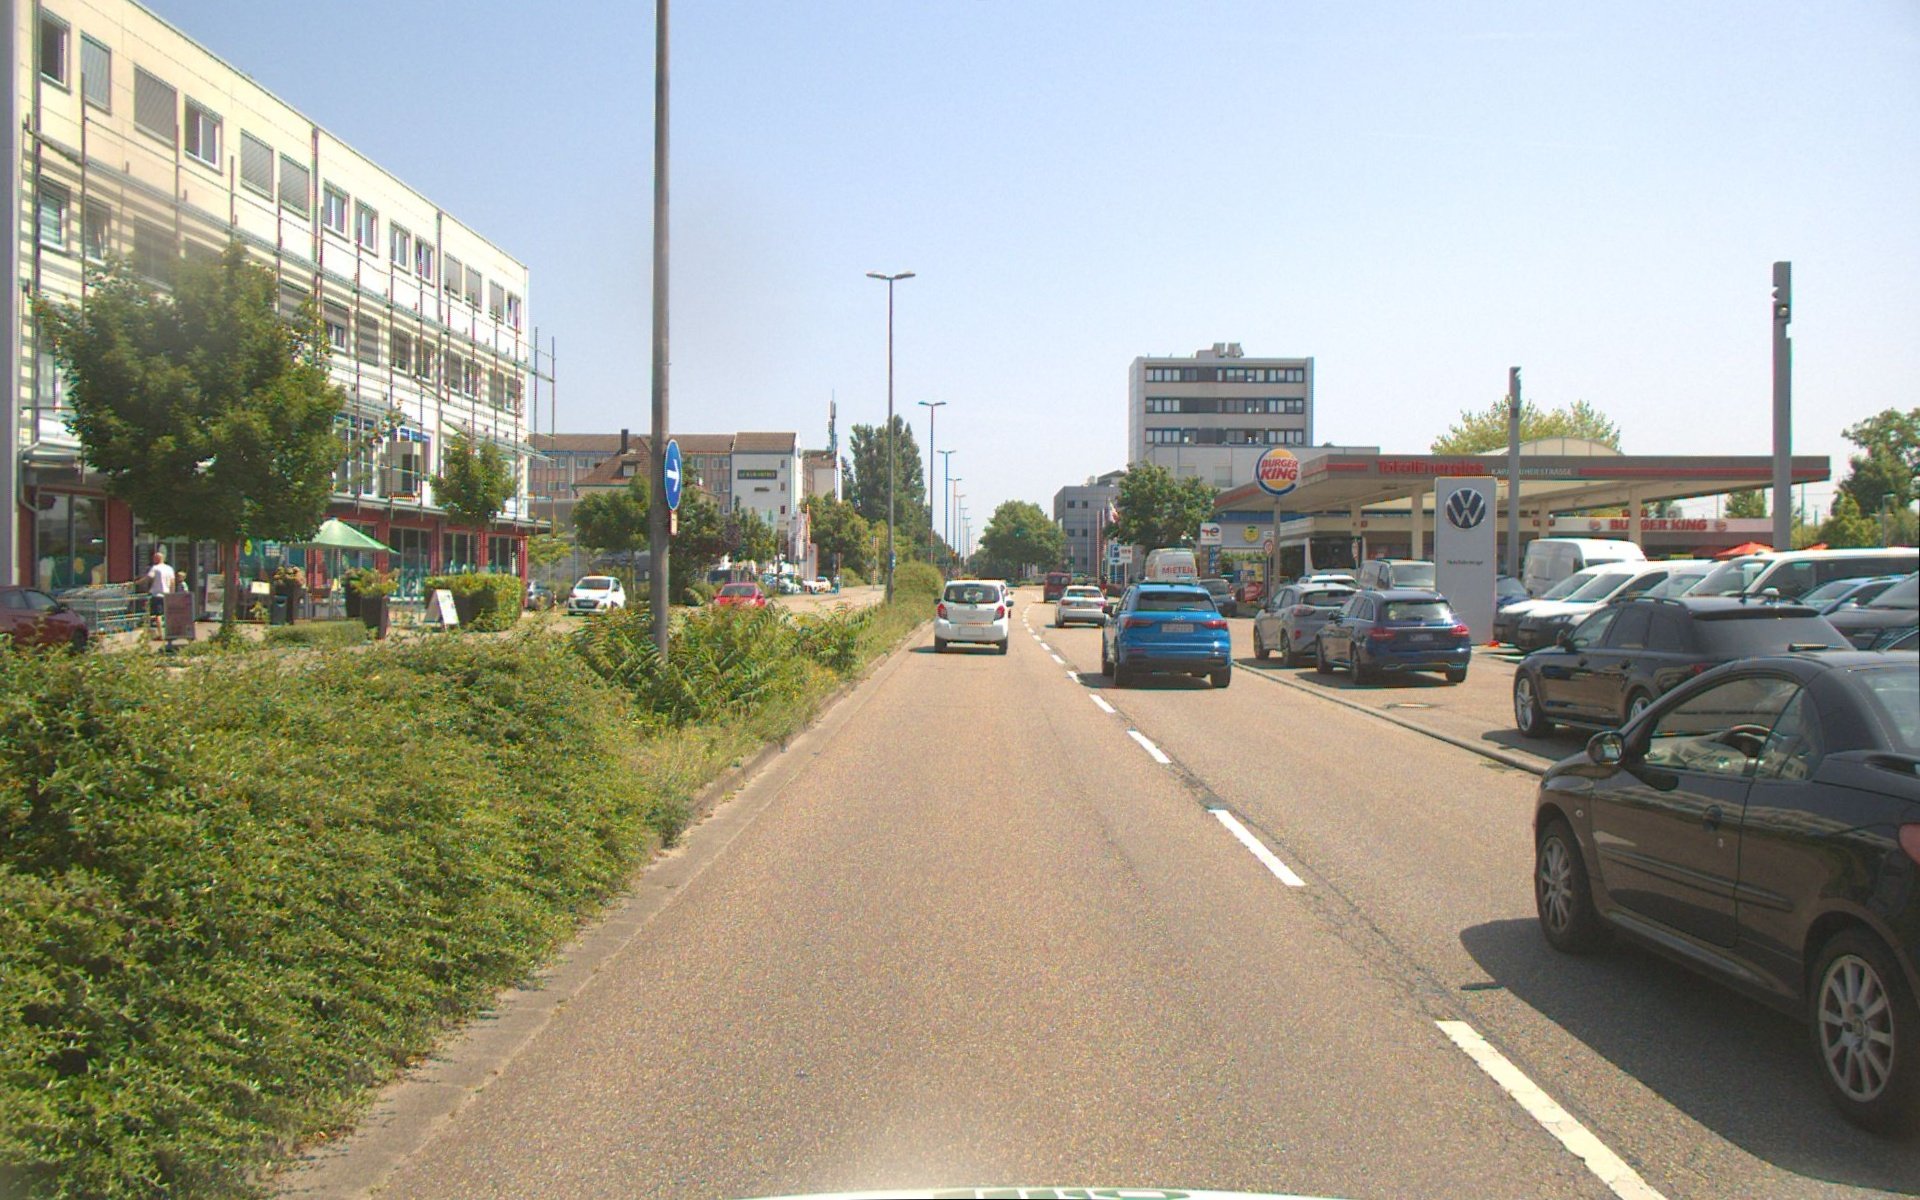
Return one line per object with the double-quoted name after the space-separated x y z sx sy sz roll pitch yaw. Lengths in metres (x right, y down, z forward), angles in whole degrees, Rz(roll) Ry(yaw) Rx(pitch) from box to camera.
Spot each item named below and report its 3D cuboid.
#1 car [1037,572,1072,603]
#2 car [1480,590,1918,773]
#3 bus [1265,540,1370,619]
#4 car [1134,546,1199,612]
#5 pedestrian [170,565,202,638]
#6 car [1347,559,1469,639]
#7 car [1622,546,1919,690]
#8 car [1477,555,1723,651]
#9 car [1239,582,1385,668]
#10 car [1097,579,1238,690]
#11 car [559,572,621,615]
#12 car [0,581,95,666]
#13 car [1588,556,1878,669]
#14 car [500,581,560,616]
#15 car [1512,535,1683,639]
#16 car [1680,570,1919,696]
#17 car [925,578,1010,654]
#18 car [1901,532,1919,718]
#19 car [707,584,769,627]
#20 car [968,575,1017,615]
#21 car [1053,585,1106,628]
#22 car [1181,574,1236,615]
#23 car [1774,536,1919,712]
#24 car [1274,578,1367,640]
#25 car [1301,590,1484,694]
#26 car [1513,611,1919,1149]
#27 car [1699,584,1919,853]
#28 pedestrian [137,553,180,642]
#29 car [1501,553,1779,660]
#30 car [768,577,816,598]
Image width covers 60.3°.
5.687 -0.742 99.477 1.758 1.759 3.971 2 -1 -1 "car"
6.929 0.666 16.256 1.817 1.507 5.153 1 0 -3 "car"
15.577 -0.982 72.984 2.745 3.132 12.292 1 1 4 "bus"
9.691 -0.984 78.268 2.089 2.888 7.310 -3 1 1 "car"
-17.566 0.024 37.534 0.519 1.648 0.392 0 0 0 "pedestrian"
12.463 -0.030 46.406 1.953 2.058 5.160 2 0 0 "car"
12.870 0.235 25.486 4.546 2.049 1.960 -1 1 -2 "car"
13.087 0.048 34.001 4.322 1.915 1.909 0 0 -1 "car"
6.930 0.440 32.981 1.698 1.579 4.176 1 1 -5 "car"
3.318 0.495 27.201 1.873 1.625 4.397 1 1 2 "car"
-14.324 -0.220 63.964 1.655 1.521 4.014 3 -2 -22 "car"
-17.751 0.432 30.438 1.625 1.493 3.798 -2 0 0 "car"
13.140 0.233 28.291 4.065 1.812 1.881 -1 -2 -1 "car"
-20.810 -0.053 80.184 1.732 1.574 4.000 0 -1 1 "car"
17.794 -0.379 46.659 2.209 2.722 7.018 0 1 1 "car"
12.070 0.448 22.806 3.553 1.598 1.717 1 0 6 "car"
0.125 0.313 36.380 1.678 1.537 3.246 2 1 -2 "car"
13.393 0.356 17.291 5.771 2.049 2.260 2 0 2 "car"
-7.740 0.193 57.946 1.597 1.449 3.451 -1 0 1 "car"
1.289 -0.177 67.228 1.793 1.475 3.998 2 -1 -2 "car"
4.100 0.204 57.066 1.632 1.423 3.794 1 0 1 "car"
9.694 -0.234 64.748 1.623 1.546 3.820 -1 0 0 "car"
12.806 0.294 20.191 4.688 2.018 2.004 1 2 1 "car"
10.068 0.210 46.479 1.633 1.624 4.613 -1 1 0 "car"
7.084 0.648 27.605 1.679 1.575 4.789 0 0 -2 "car"
3.421 0.794 5.989 1.567 1.450 3.660 1 0 -1 "car"
6.684 0.699 10.217 1.921 1.556 5.161 -2 0 0 "car"
-17.318 -0.052 35.751 0.661 1.899 0.498 0 0 0 "pedestrian"
12.678 0.140 31.035 4.463 1.921 1.856 0 -2 -1 "car"
-14.550 -1.073 143.389 3.903 1.579 1.866 2 -2 3 "car"
